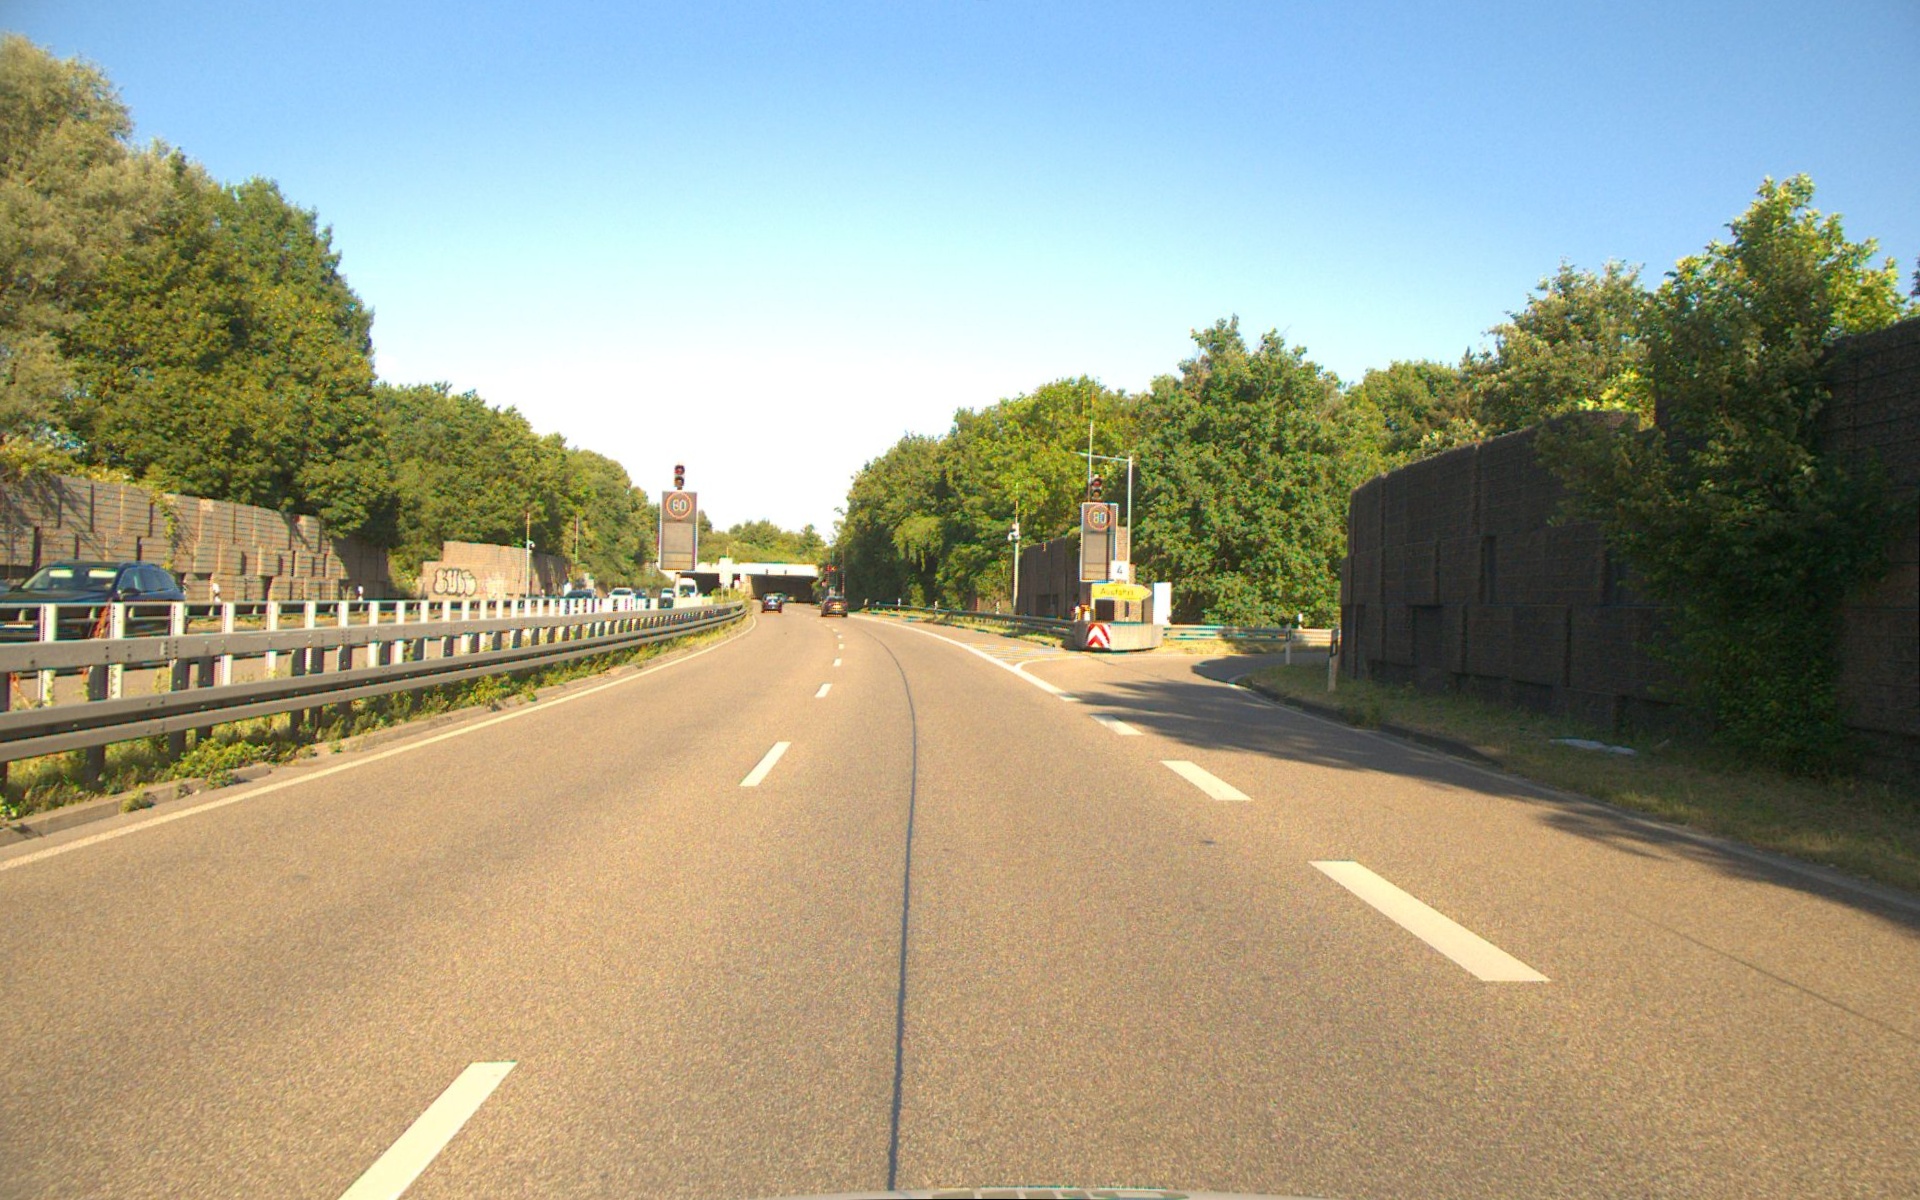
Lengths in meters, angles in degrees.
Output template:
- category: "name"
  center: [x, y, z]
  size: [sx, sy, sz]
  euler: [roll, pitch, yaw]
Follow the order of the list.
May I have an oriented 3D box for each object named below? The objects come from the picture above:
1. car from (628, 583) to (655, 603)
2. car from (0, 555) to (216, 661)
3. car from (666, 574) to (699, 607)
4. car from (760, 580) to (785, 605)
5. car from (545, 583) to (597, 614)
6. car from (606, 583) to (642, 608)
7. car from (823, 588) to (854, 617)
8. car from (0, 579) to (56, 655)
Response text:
- category: "car"
  center: [-28.372, -0.644, 147.501]
  size: [1.865, 1.648, 4.691]
  euler: [3, 1, -6]
- category: "car"
  center: [-15.006, 0.088, 28.931]
  size: [1.859, 1.601, 4.806]
  euler: [3, 1, -2]
- category: "car"
  center: [-24.247, -0.847, 144.658]
  size: [2.079, 2.730, 6.582]
  euler: [3, 1, -4]
- category: "car"
  center: [-15.993, -0.650, 141.025]
  size: [1.956, 1.959, 3.993]
  euler: [2, 0, -8]
- category: "car"
  center: [-21.073, -0.078, 89.770]
  size: [1.955, 1.506, 4.530]
  euler: [3, 1, -5]
- category: "car"
  center: [-24.641, -0.356, 121.445]
  size: [1.955, 1.623, 4.617]
  euler: [3, 1, -5]
- category: "car"
  center: [-8.838, 0.168, 119.734]
  size: [1.956, 1.959, 3.993]
  euler: [2, 0, -8]
- category: "car"
  center: [-19.236, 0.322, 31.507]
  size: [1.859, 1.446, 4.133]
  euler: [0, 1, -2]
